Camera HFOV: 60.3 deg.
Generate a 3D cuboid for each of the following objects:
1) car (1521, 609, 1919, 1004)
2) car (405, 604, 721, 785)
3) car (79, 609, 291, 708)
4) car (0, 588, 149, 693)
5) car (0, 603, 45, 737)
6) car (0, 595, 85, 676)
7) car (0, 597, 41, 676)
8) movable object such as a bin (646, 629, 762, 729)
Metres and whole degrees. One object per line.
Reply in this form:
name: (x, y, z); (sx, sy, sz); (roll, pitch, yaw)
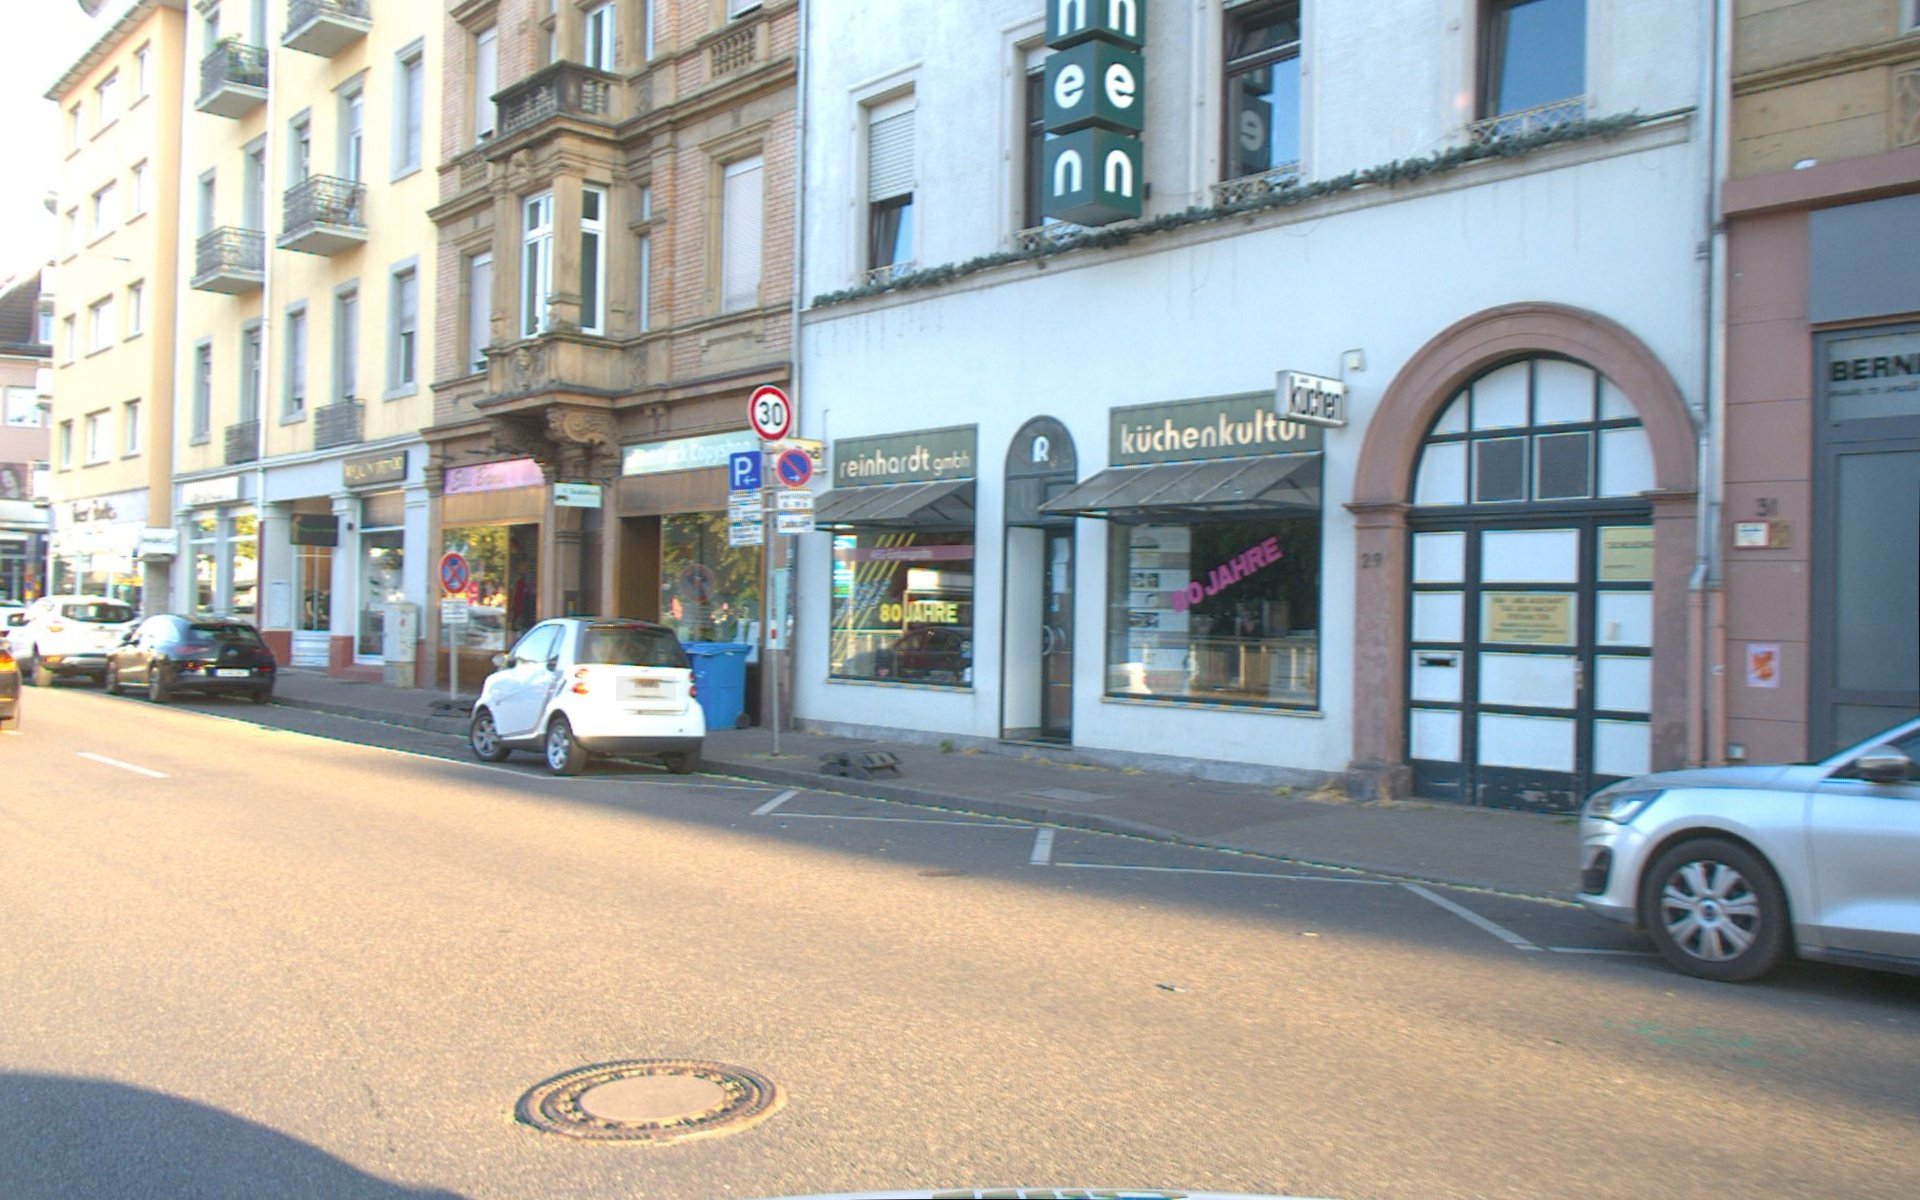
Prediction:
car: (5.046, 0.923, 7.093); (1.984, 1.562, 4.609); (2, 0, -43)
car: (-4.392, 0.924, 17.932); (1.690, 1.612, 3.940); (2, 1, -41)
car: (-13.158, 0.947, 27.935); (1.982, 1.459, 4.777); (3, -1, -41)
car: (-17.447, 0.742, 32.103); (1.872, 1.775, 4.589); (2, 0, -41)
car: (-12.591, 0.767, 19.991); (1.877, 1.518, 4.143); (3, -2, -40)
car: (-21.020, 0.737, 36.459); (2.004, 1.570, 4.798); (2, 0, -41)
car: (-24.468, 0.845, 41.174); (1.858, 1.793, 4.341); (2, 0, -42)
movable object such as a bin: (-3.323, 1.001, 21.404); (0.861, 1.207, 1.377); (2, -1, -42)
